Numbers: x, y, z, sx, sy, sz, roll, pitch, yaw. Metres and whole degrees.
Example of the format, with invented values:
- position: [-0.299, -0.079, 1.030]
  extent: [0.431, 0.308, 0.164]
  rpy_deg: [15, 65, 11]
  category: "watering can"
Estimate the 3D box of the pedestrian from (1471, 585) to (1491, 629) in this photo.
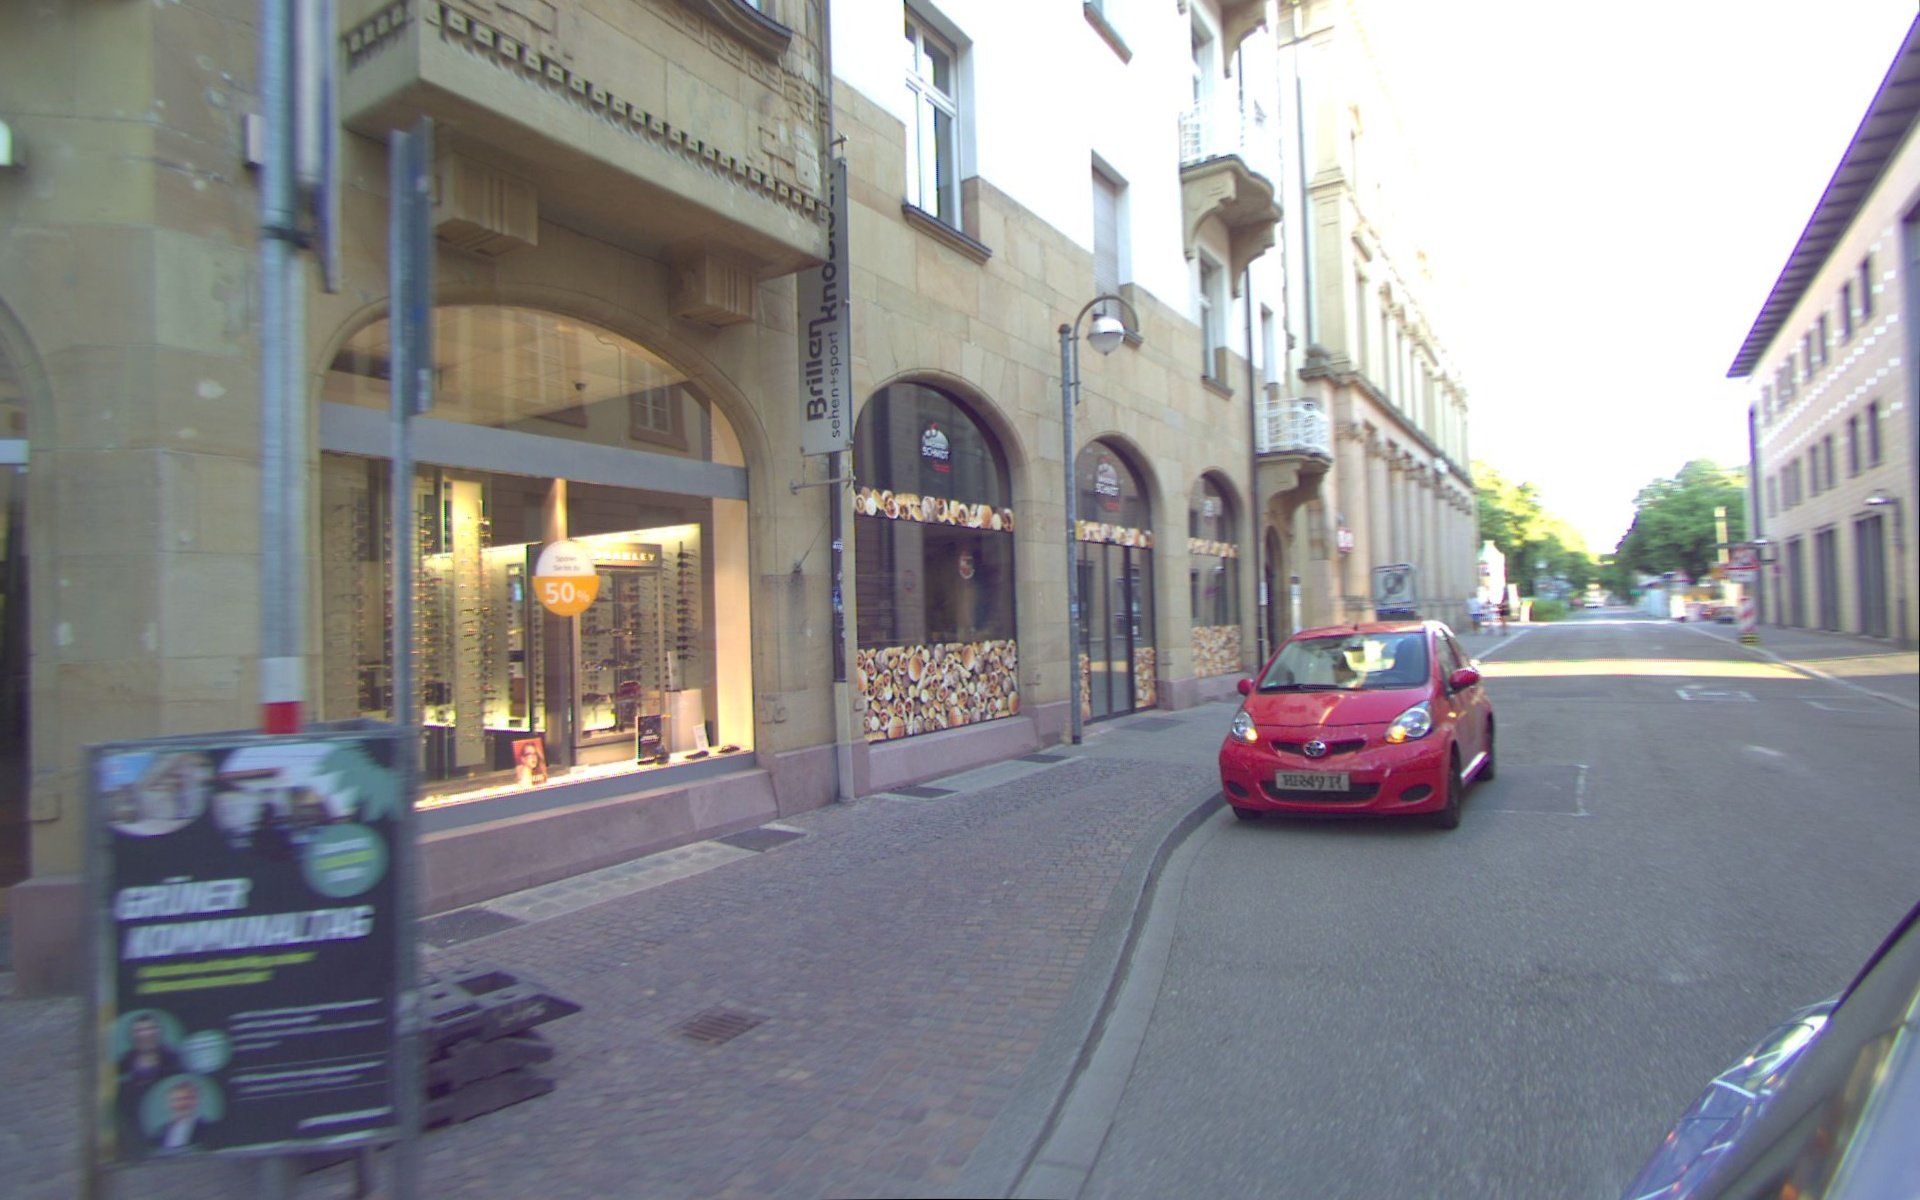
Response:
- position: [21.746, 0.298, 42.229]
  extent: [0.644, 1.801, 0.750]
  rpy_deg: [1, 1, 31]
  category: "pedestrian"

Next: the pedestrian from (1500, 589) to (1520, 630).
- position: [22.695, 0.381, 41.757]
  extent: [0.644, 1.673, 0.750]
  rpy_deg: [1, 1, 31]
  category: "pedestrian"

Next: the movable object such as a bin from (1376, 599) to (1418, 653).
- position: [11.844, 0.686, 27.443]
  extent: [0.892, 1.392, 1.125]
  rpy_deg: [1, 1, 32]
  category: "movable object such as a bin"

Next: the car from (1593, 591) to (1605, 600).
- position: [120.136, -0.795, 190.265]
  extent: [1.846, 1.547, 3.952]
  rpy_deg: [-2, 0, 34]
  category: "car"

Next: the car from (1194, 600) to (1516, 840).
- position: [3.373, 0.811, 8.244]
  extent: [1.607, 1.443, 3.553]
  rpy_deg: [-6, -3, 34]
  category: "car"

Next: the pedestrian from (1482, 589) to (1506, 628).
- position: [22.891, 0.345, 43.364]
  extent: [0.849, 1.618, 0.914]
  rpy_deg: [1, 1, 31]
  category: "pedestrian"
